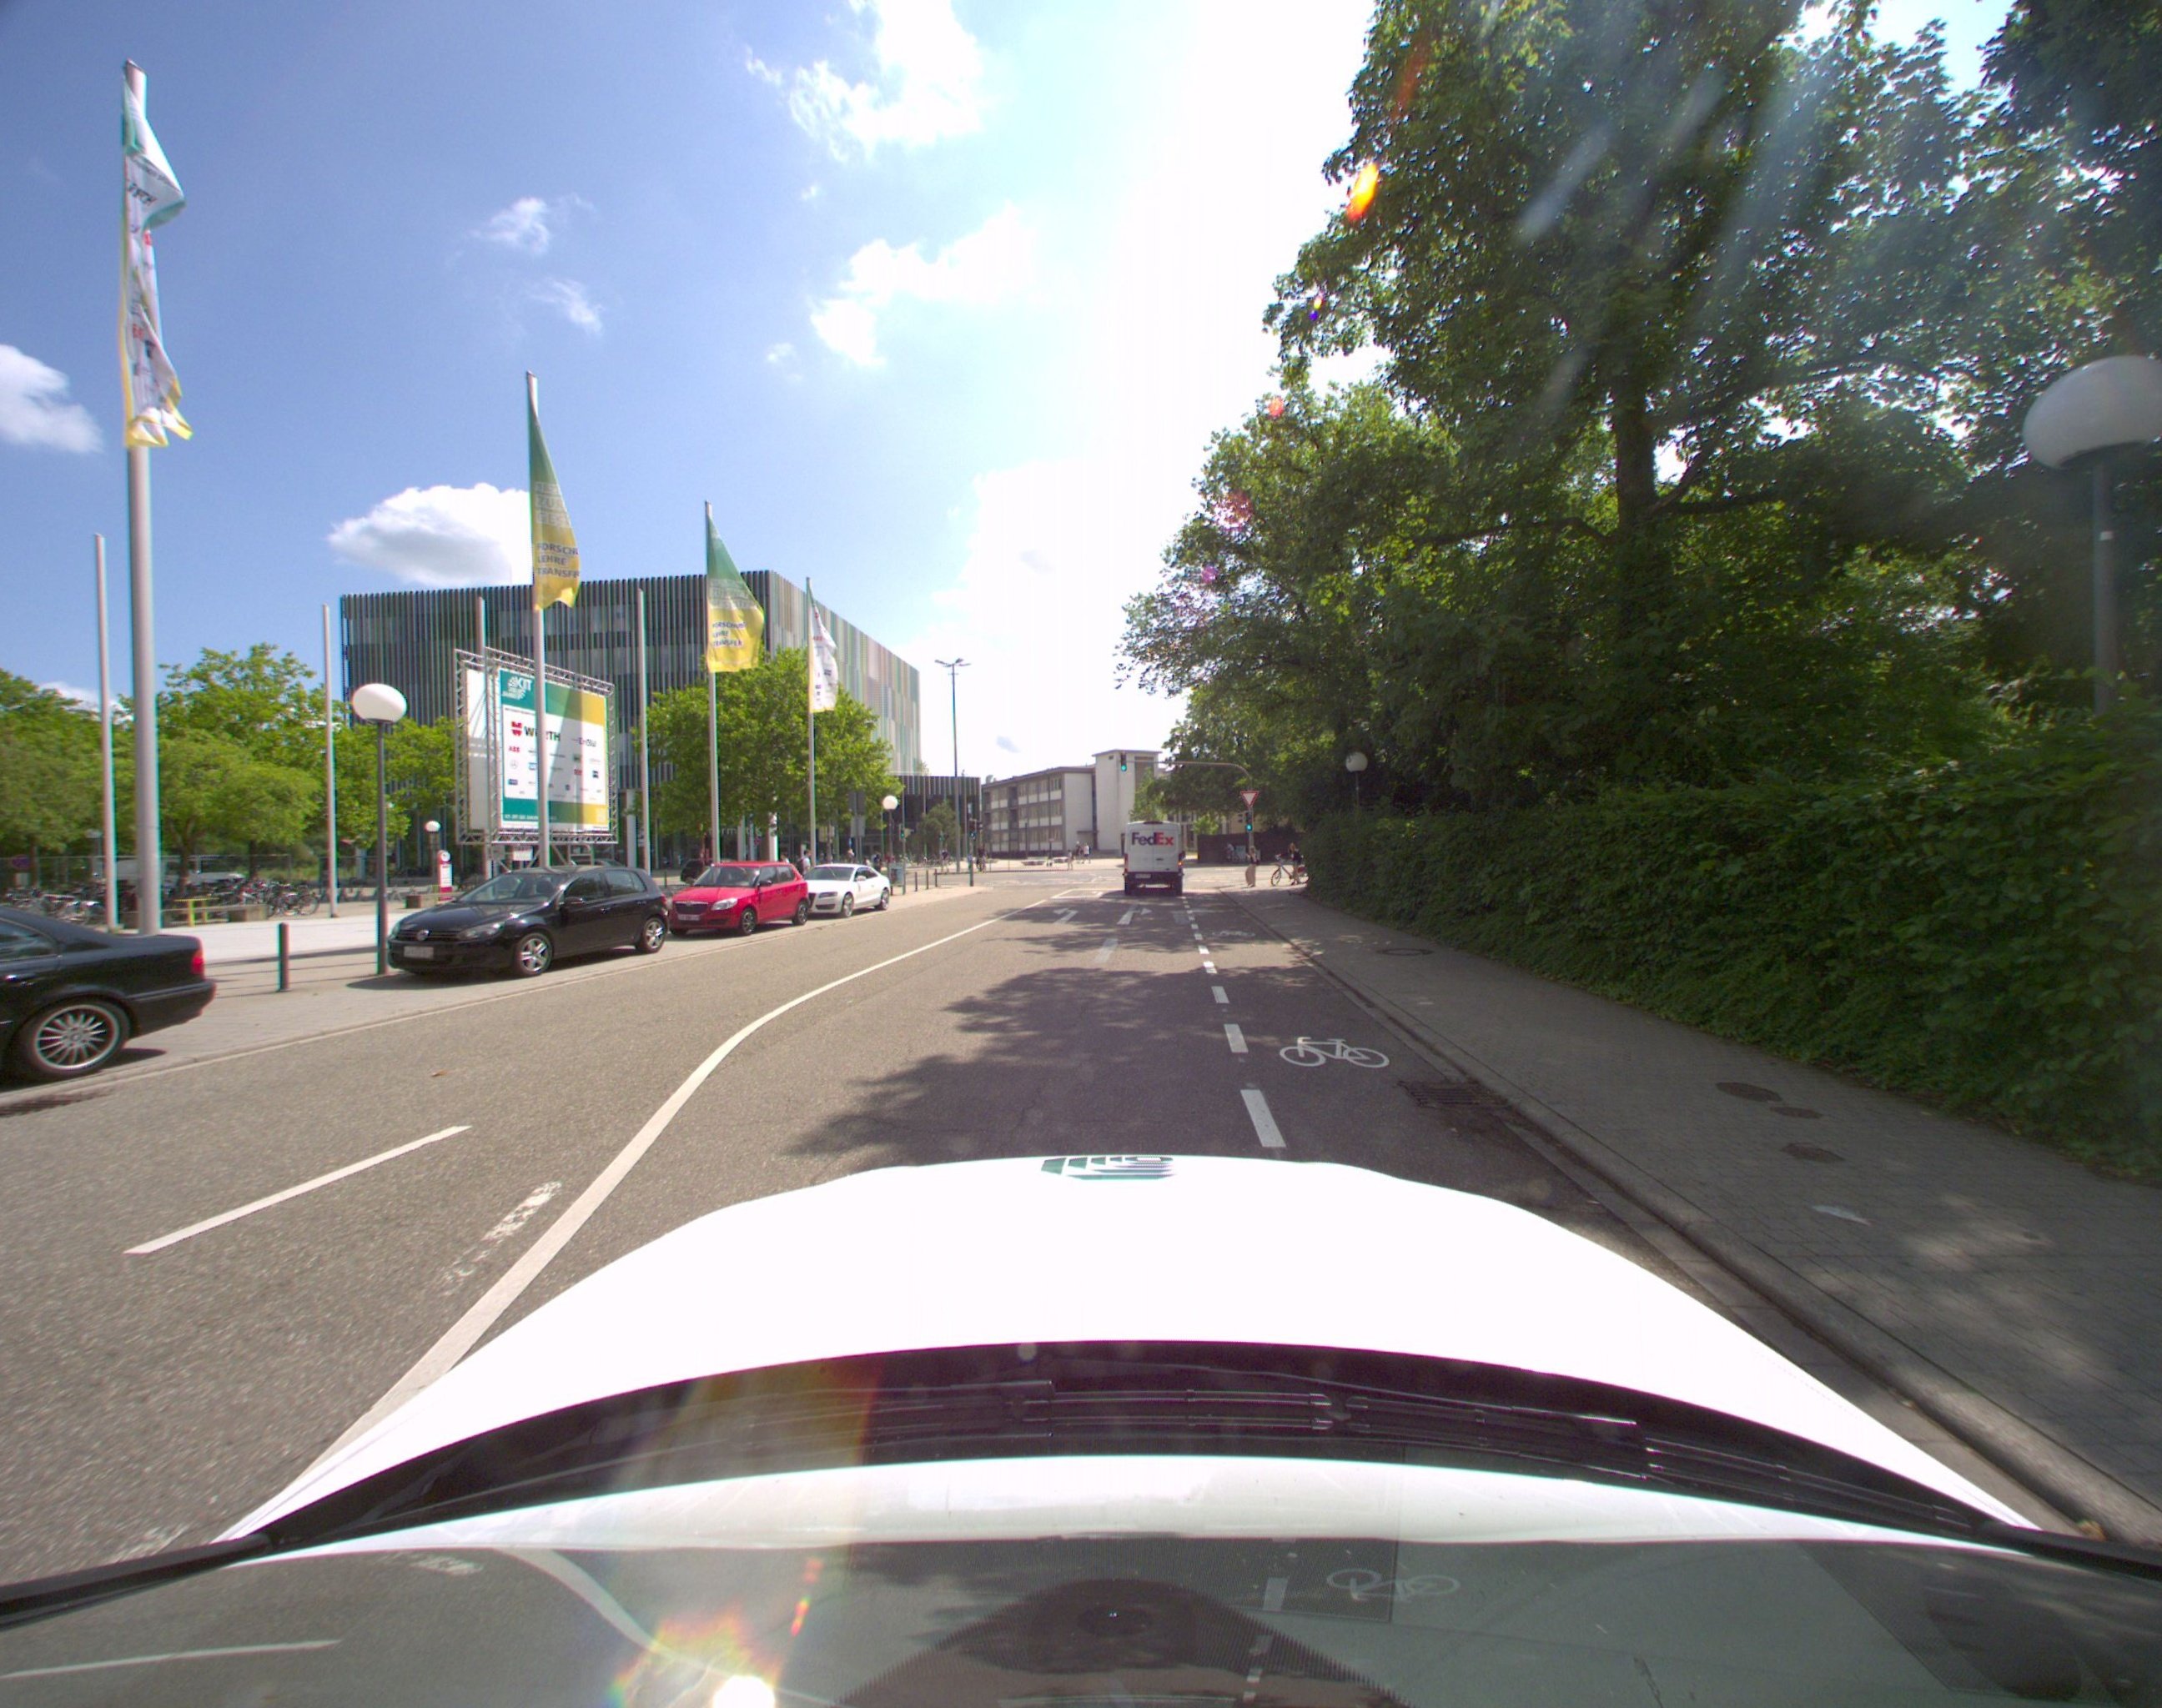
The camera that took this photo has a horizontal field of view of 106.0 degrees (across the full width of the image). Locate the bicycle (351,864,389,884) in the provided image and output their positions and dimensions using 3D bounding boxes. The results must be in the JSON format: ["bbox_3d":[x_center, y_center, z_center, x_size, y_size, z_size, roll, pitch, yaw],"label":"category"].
[{"bbox_3d":[-70.129,1.965,80.373,0.954,1.838,2.957,-1,0,7],"label":"bicycle"}]

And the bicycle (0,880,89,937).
[{"bbox_3d":[-28.448,1.432,21.330,2.948,1.411,1.141,-1,0,-17],"label":"bicycle"}]

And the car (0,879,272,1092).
[{"bbox_3d":[-8.505,0.953,4.914,1.849,1.378,5.027,1,1,8],"label":"car"}]

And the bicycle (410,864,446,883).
[{"bbox_3d":[-63.978,1.902,79.826,0.954,1.838,2.957,-1,0,7],"label":"bicycle"}]

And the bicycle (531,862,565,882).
[{"bbox_3d":[-51.103,1.737,78.184,0.953,1.838,2.959,-1,0,9],"label":"bicycle"}]

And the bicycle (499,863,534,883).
[{"bbox_3d":[-54.514,1.780,78.675,0.954,1.838,2.958,-1,0,8],"label":"bicycle"}]

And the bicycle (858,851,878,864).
[{"bbox_3d":[-21.081,0.336,80.572,1.205,1.237,2.922,-1,0,-31],"label":"bicycle"}]

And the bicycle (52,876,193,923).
[{"bbox_3d":[-32.549,1.522,27.758,1.055,1.411,2.960,-1,0,11],"label":"bicycle"}]

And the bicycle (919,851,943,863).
[{"bbox_3d":[-15.463,0.334,83.824,1.207,1.237,2.917,-1,0,-40],"label":"bicycle"}]

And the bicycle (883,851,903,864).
[{"bbox_3d":[-18.918,0.375,81.936,1.205,1.237,2.922,-1,0,-31],"label":"bicycle"}]

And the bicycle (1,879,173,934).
[{"bbox_3d":[-27.877,1.447,22.925,2.948,1.411,1.059,-1,0,-17],"label":"bicycle"}]

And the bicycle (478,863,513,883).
[{"bbox_3d":[-56.763,1.809,78.938,0.954,1.838,2.957,-1,0,7],"label":"bicycle"}]

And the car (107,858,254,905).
[{"bbox_3d":[-40.866,1.235,37.022,4.740,1.939,1.868,-2,0,3],"label":"car"}]

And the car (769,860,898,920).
[{"bbox_3d":[-6.700,0.918,22.632,1.668,1.395,4.671,1,1,7],"label":"car"}]

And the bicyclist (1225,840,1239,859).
[{"bbox_3d":[12.328,-0.365,66.426,0.841,1.468,1.075,-2,0,29],"label":"bicyclist"}]

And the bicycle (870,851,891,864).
[{"bbox_3d":[-20.044,0.374,81.260,1.205,1.237,2.922,-1,0,-31],"label":"bicycle"}]

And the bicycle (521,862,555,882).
[{"bbox_3d":[-52.231,1.751,78.373,0.953,1.838,2.959,-1,0,9],"label":"bicycle"}]

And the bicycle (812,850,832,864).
[{"bbox_3d":[-24.618,0.272,77.452,1.204,1.237,2.923,-1,0,-29],"label":"bicycle"}]

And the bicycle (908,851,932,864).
[{"bbox_3d":[-16.410,0.352,82.995,1.207,1.237,2.917,-1,0,-40],"label":"bicycle"}]

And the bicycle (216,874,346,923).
[{"bbox_3d":[-26.038,1.416,26.610,1.008,1.419,2.960,-1,0,11],"label":"bicycle"}]

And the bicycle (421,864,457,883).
[{"bbox_3d":[-62.821,1.887,79.689,0.954,1.838,2.957,-1,0,7],"label":"bicycle"}]

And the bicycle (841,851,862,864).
[{"bbox_3d":[-22.285,0.303,79.095,1.205,1.237,2.922,-1,0,-30],"label":"bicycle"}]

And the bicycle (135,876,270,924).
[{"bbox_3d":[-29.222,1.493,27.192,1.008,1.411,2.960,-1,0,11],"label":"bicycle"}]

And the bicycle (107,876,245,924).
[{"bbox_3d":[-30.312,1.500,27.385,1.055,1.411,2.960,-1,0,11],"label":"bicycle"}]

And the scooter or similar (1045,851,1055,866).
[{"bbox_3d":[-2.601,0.400,68.290,0.715,1.178,2.721,-1,1,-5],"label":"scooter or similar"}]

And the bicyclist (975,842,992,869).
[{"bbox_3d":[-6.799,0.118,56.656,0.783,1.817,1.003,-2,0,15],"label":"bicyclist"}]

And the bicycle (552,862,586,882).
[{"bbox_3d":[-48.948,1.709,77.877,0.953,1.838,2.959,-1,0,9],"label":"bicycle"}]

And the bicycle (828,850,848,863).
[{"bbox_3d":[-23.439,0.266,78.406,1.204,1.237,2.923,-1,0,-29],"label":"bicycle"}]

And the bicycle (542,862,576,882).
[{"bbox_3d":[-50.018,1.723,78.023,0.953,1.838,2.959,-1,0,9],"label":"bicycle"}]

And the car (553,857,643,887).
[{"bbox_3d":[-30.172,1.121,50.922,4.784,1.661,1.656,-2,0,7],"label":"car"}]

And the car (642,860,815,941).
[{"bbox_3d":[-7.447,0.908,17.658,1.668,1.467,3.918,1,1,7],"label":"car"}]

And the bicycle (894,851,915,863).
[{"bbox_3d":[-17.862,0.316,82.529,1.205,1.237,2.922,-1,0,-31],"label":"bicycle"}]

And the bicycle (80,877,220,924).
[{"bbox_3d":[-31.381,1.533,27.556,1.055,1.411,2.960,-1,0,11],"label":"bicycle"}]

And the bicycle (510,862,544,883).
[{"bbox_3d":[-53.353,1.766,78.489,0.954,1.838,2.958,-1,0,9],"label":"bicycle"}]

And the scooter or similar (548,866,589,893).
[{"bbox_3d":[-24.365,1.215,38.708,1.717,1.196,0.495,-1,0,11],"label":"scooter or similar"}]

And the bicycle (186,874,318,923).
[{"bbox_3d":[-27.186,1.425,26.802,1.008,1.416,2.960,-1,0,11],"label":"bicycle"}]

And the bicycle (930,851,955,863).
[{"bbox_3d":[-14.403,0.338,84.516,1.207,1.237,2.917,-1,0,-40],"label":"bicycle"}]

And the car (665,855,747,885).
[{"bbox_3d":[-23.101,0.973,50.268,4.259,1.661,1.656,-2,1,7],"label":"car"}]

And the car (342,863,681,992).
[{"bbox_3d":[-8.108,0.926,12.181,1.738,1.467,4.205,1,1,8],"label":"car"}]

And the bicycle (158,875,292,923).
[{"bbox_3d":[-28.246,1.435,26.977,1.008,1.411,2.960,-1,0,11],"label":"bicycle"}]

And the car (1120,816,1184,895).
[{"bbox_3d":[2.592,0.020,29.447,2.085,2.566,5.611,0,1,5],"label":"car"}]

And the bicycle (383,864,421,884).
[{"bbox_3d":[-66.748,1.938,80.067,0.954,1.838,2.957,-1,0,7],"label":"bicycle"}]

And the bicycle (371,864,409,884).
[{"bbox_3d":[-67.965,1.954,80.173,0.954,1.838,2.957,-1,0,7],"label":"bicycle"}]

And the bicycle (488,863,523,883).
[{"bbox_3d":[-55.668,1.795,78.814,0.954,1.838,2.958,-1,0,8],"label":"bicycle"}]
